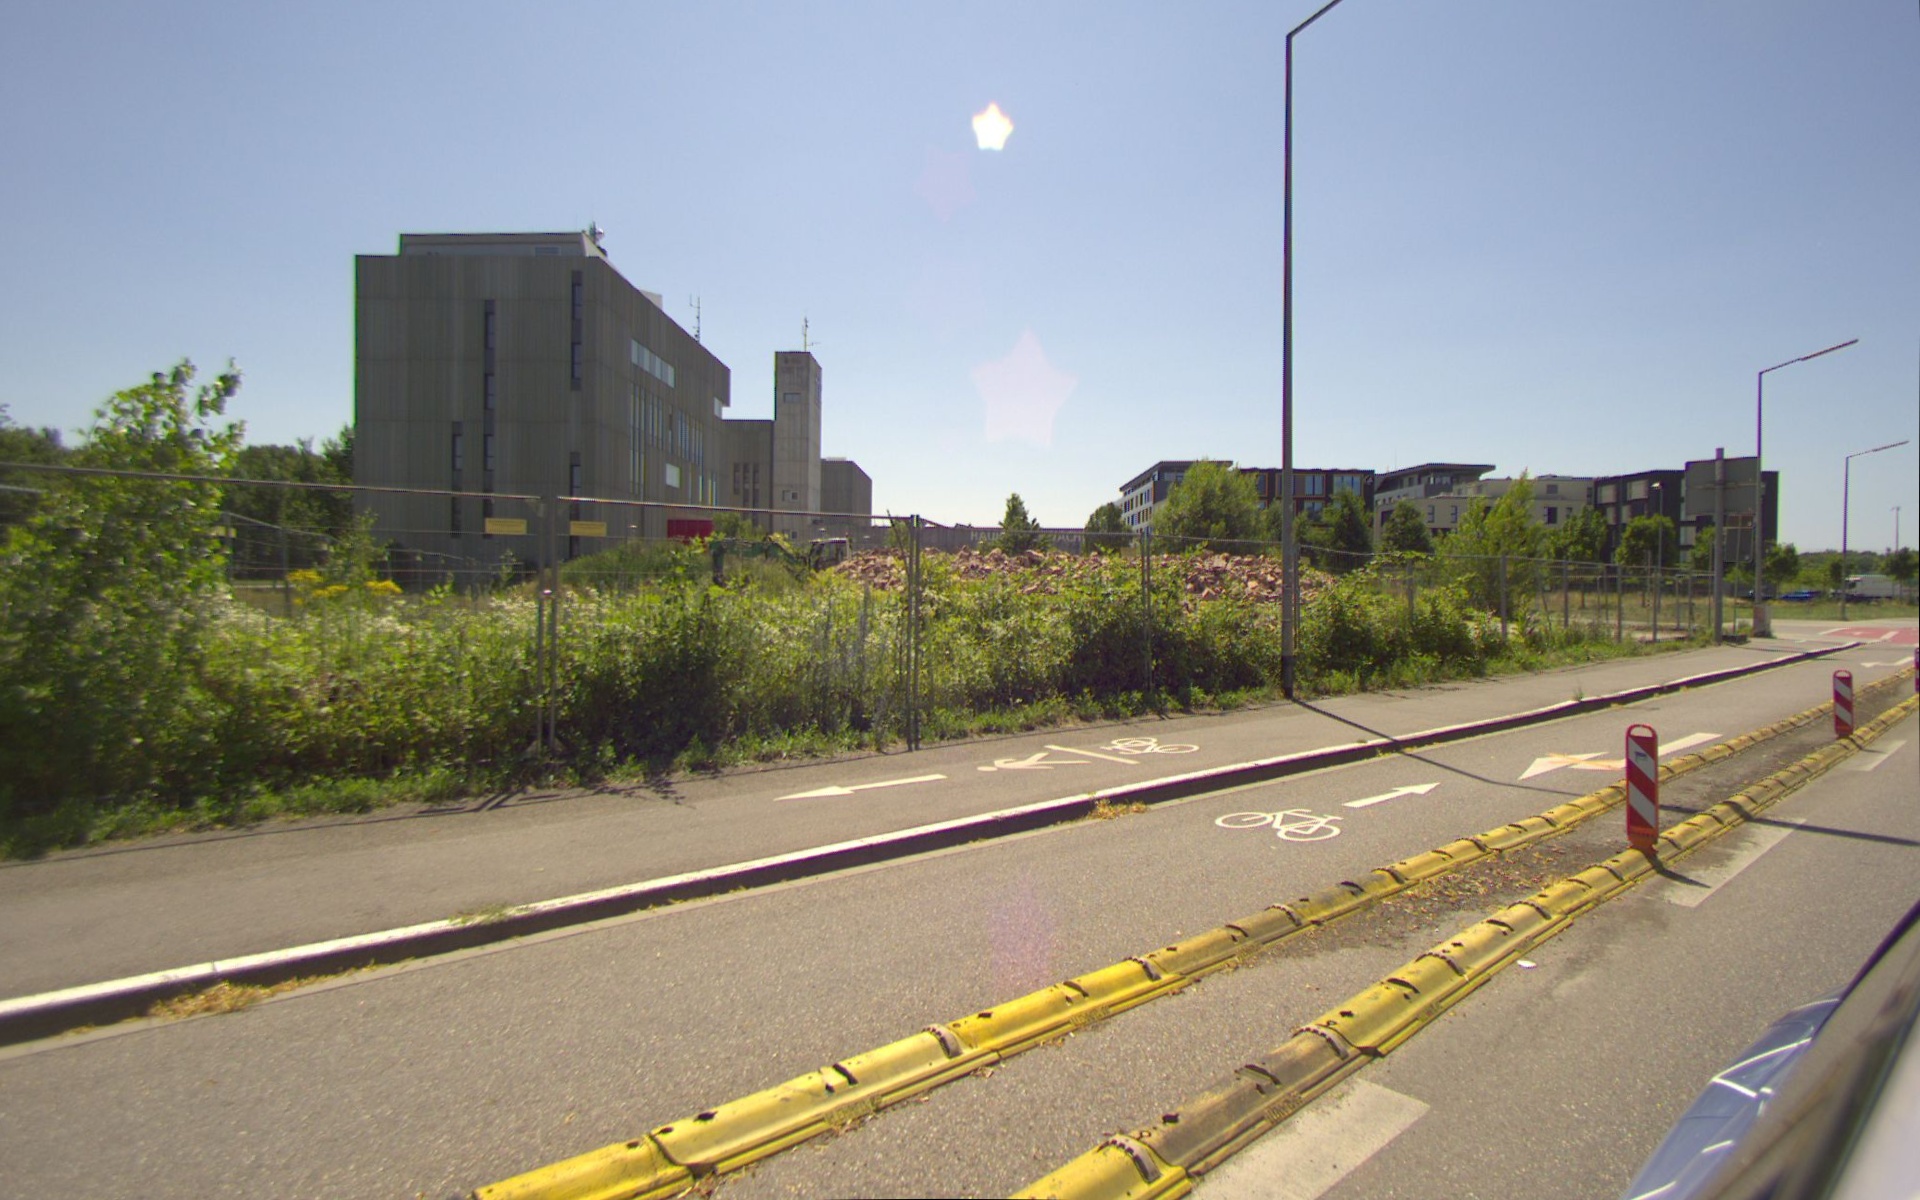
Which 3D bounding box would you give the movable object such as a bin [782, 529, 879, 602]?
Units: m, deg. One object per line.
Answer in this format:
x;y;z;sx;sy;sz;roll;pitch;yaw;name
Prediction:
-5.710;-1.486;44.675;3.619;3.101;2.207;-1;0;-35;movable object such as a bin

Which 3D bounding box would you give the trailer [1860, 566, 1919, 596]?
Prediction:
109.160;-2.174;116.904;8.030;3.390;1.998;1;1;5;trailer

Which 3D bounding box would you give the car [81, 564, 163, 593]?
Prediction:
-52.767;-1.326;63.825;1.775;1.772;3.997;0;1;3;car

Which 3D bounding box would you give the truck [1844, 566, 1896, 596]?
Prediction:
105.364;-2.260;117.209;3.928;3.377;1.998;1;1;4;truck

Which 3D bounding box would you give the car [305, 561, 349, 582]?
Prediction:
-63.149;-2.851;101.013;1.961;2.039;4.002;0;1;-2;car
